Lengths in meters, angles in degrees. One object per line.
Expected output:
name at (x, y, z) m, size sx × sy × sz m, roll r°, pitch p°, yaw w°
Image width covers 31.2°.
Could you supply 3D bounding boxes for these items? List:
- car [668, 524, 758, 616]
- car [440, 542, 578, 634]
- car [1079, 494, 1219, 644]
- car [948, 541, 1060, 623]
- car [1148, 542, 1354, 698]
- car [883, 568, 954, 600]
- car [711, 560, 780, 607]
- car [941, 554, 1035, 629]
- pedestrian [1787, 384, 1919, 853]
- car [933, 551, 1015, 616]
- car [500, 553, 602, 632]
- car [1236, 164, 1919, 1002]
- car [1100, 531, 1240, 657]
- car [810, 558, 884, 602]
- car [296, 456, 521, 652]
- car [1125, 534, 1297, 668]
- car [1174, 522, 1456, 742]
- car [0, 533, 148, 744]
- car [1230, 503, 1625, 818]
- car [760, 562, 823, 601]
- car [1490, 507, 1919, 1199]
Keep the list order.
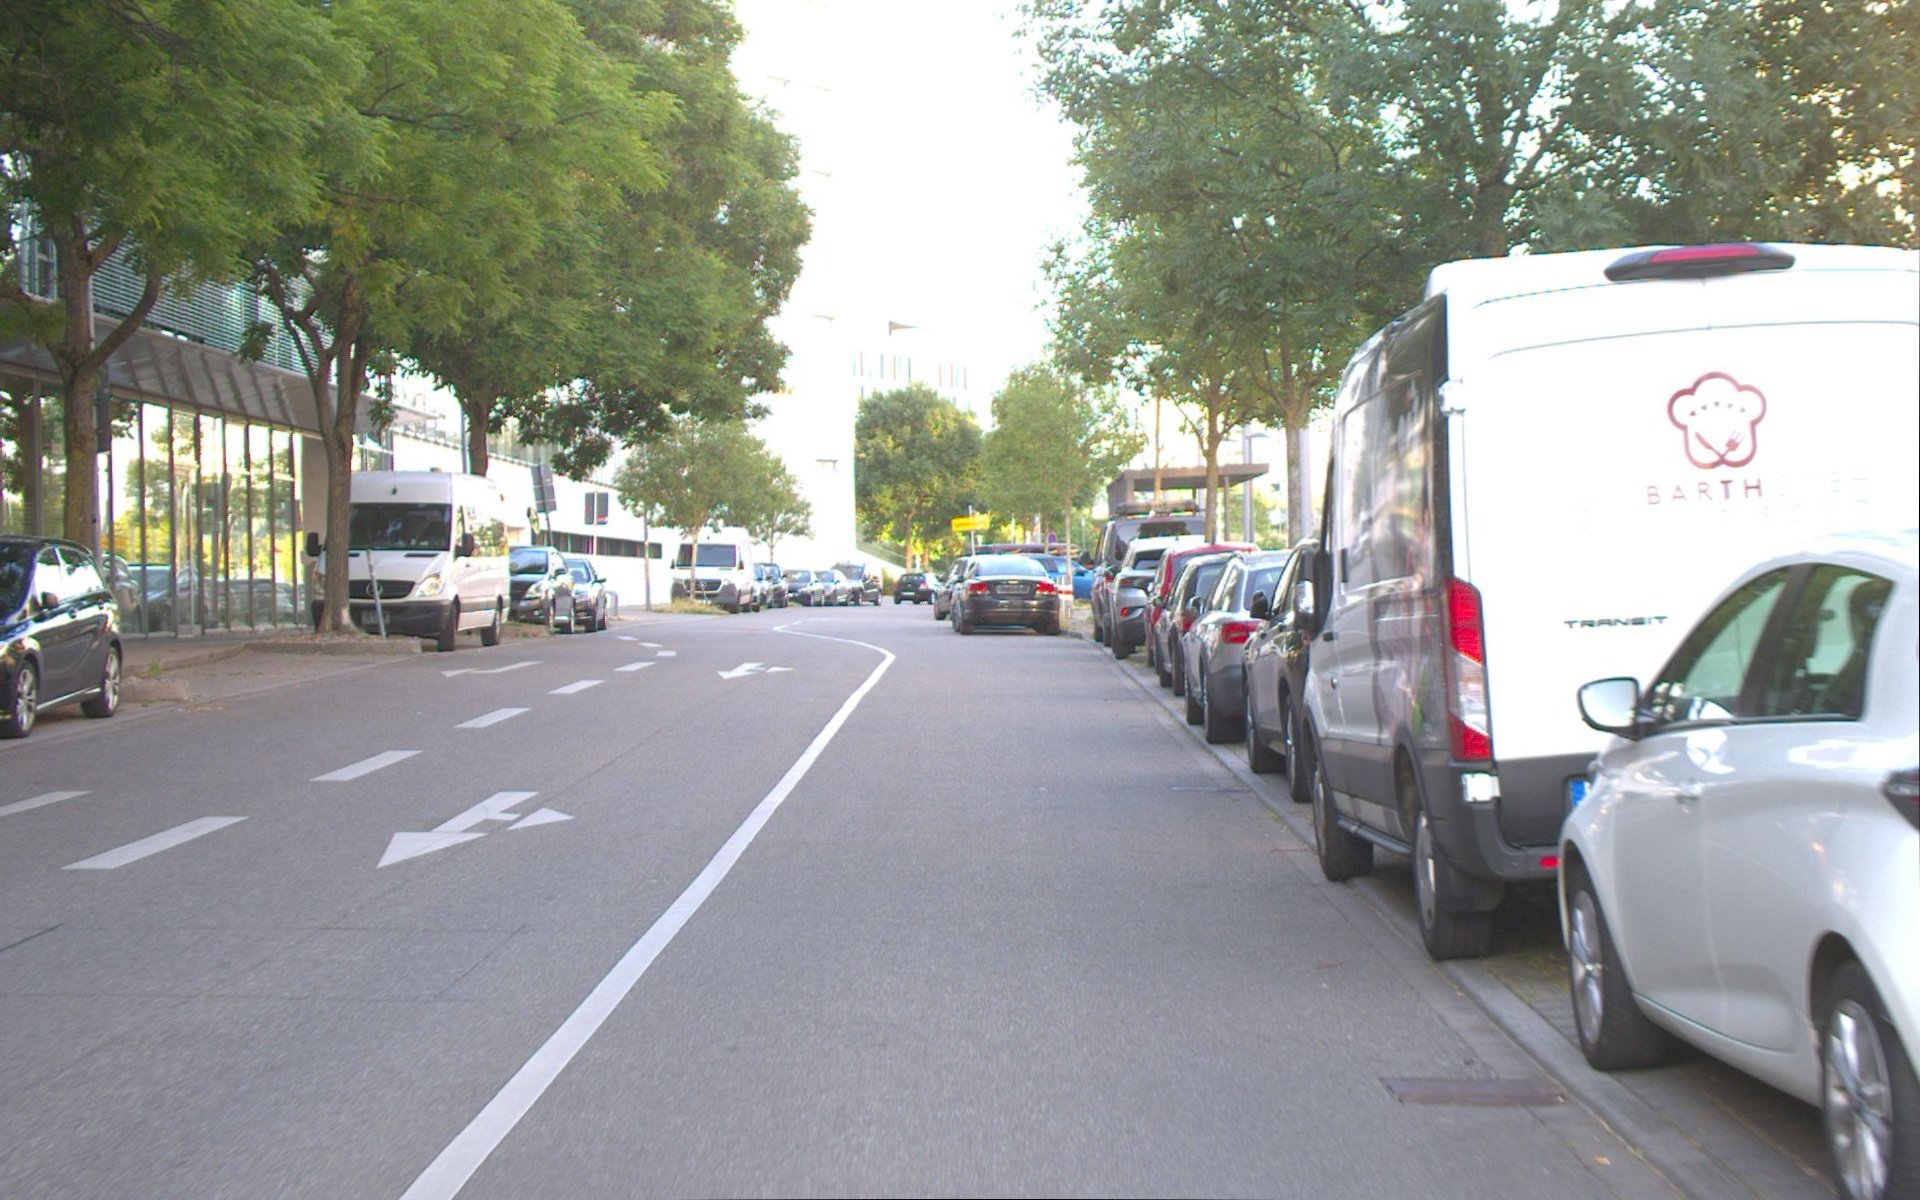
car at (-7.370, -0.913, 103.132) m, size 1.958 × 2.608 × 6.892 m, roll 1°, pitch 1°, yaw 2°
car at (-7.968, -0.232, 61.100) m, size 1.844 × 1.566 × 4.267 m, roll -1°, pitch 1°, yaw 0°
car at (2.909, -0.479, 53.779) m, size 1.804 × 2.169 × 4.736 m, roll -3°, pitch 0°, yaw 0°
car at (0.772, -0.344, 63.589) m, size 1.787 × 1.447 × 4.516 m, roll -1°, pitch 1°, yaw -3°
car at (2.964, 0.183, 35.729) m, size 1.707 × 1.446 × 4.000 m, roll -3°, pitch 0°, yaw 0°
car at (-1.844, -0.731, 153.590) m, size 1.945 × 1.378 × 4.395 m, roll 1°, pitch 1°, yaw 17°
car at (-6.828, -0.555, 109.869) m, size 1.756 × 1.435 × 3.901 m, roll 1°, pitch 1°, yaw 3°
car at (0.545, -0.177, 69.668) m, size 1.676 × 1.447 × 4.188 m, roll -1°, pitch 0°, yaw -3°
pedestrian at (4.296, 0.071, 15.221) m, size 0.977 × 2.007 × 0.807 m, roll -1°, pitch 0°, yaw -45°
car at (0.306, -0.377, 80.881) m, size 1.731 × 1.461 × 4.000 m, roll 1°, pitch 0°, yaw -2°
car at (-7.845, -0.165, 66.208) m, size 1.714 × 1.447 × 4.400 m, roll -1°, pitch 1°, yaw -4°
car at (2.522, -0.096, 14.072) m, size 2.051 × 2.648 × 5.435 m, roll -4°, pitch 1°, yaw -1°
car at (2.854, -0.102, 47.430) m, size 1.707 × 1.575 × 4.479 m, roll -3°, pitch 0°, yaw 2°
car at (-4.695, -0.848, 143.419) m, size 1.758 × 1.792 × 4.460 m, roll 1°, pitch 1°, yaw 16°
car at (-7.985, -0.664, 50.455) m, size 2.100 × 2.654 × 6.951 m, roll -1°, pitch 1°, yaw 0°
car at (3.023, -0.002, 42.104) m, size 1.707 × 1.488 × 4.131 m, roll -3°, pitch 0°, yaw 0°
car at (2.759, 0.205, 27.647) m, size 1.796 × 1.491 × 4.780 m, roll -4°, pitch 1°, yaw 2°
car at (-7.973, 0.242, 28.033) m, size 1.590 × 1.563 × 4.471 m, roll 2°, pitch 1°, yaw 0°
car at (2.711, 0.313, 20.832) m, size 1.707 × 1.638 × 4.267 m, roll -3°, pitch 0°, yaw 0°
car at (-6.497, -0.728, 132.624) m, size 1.723 × 1.452 × 4.270 m, roll 1°, pitch 1°, yaw 7°
car at (2.614, 0.551, 8.680) m, size 1.748 × 1.578 × 4.013 m, roll -4°, pitch 1°, yaw -1°
